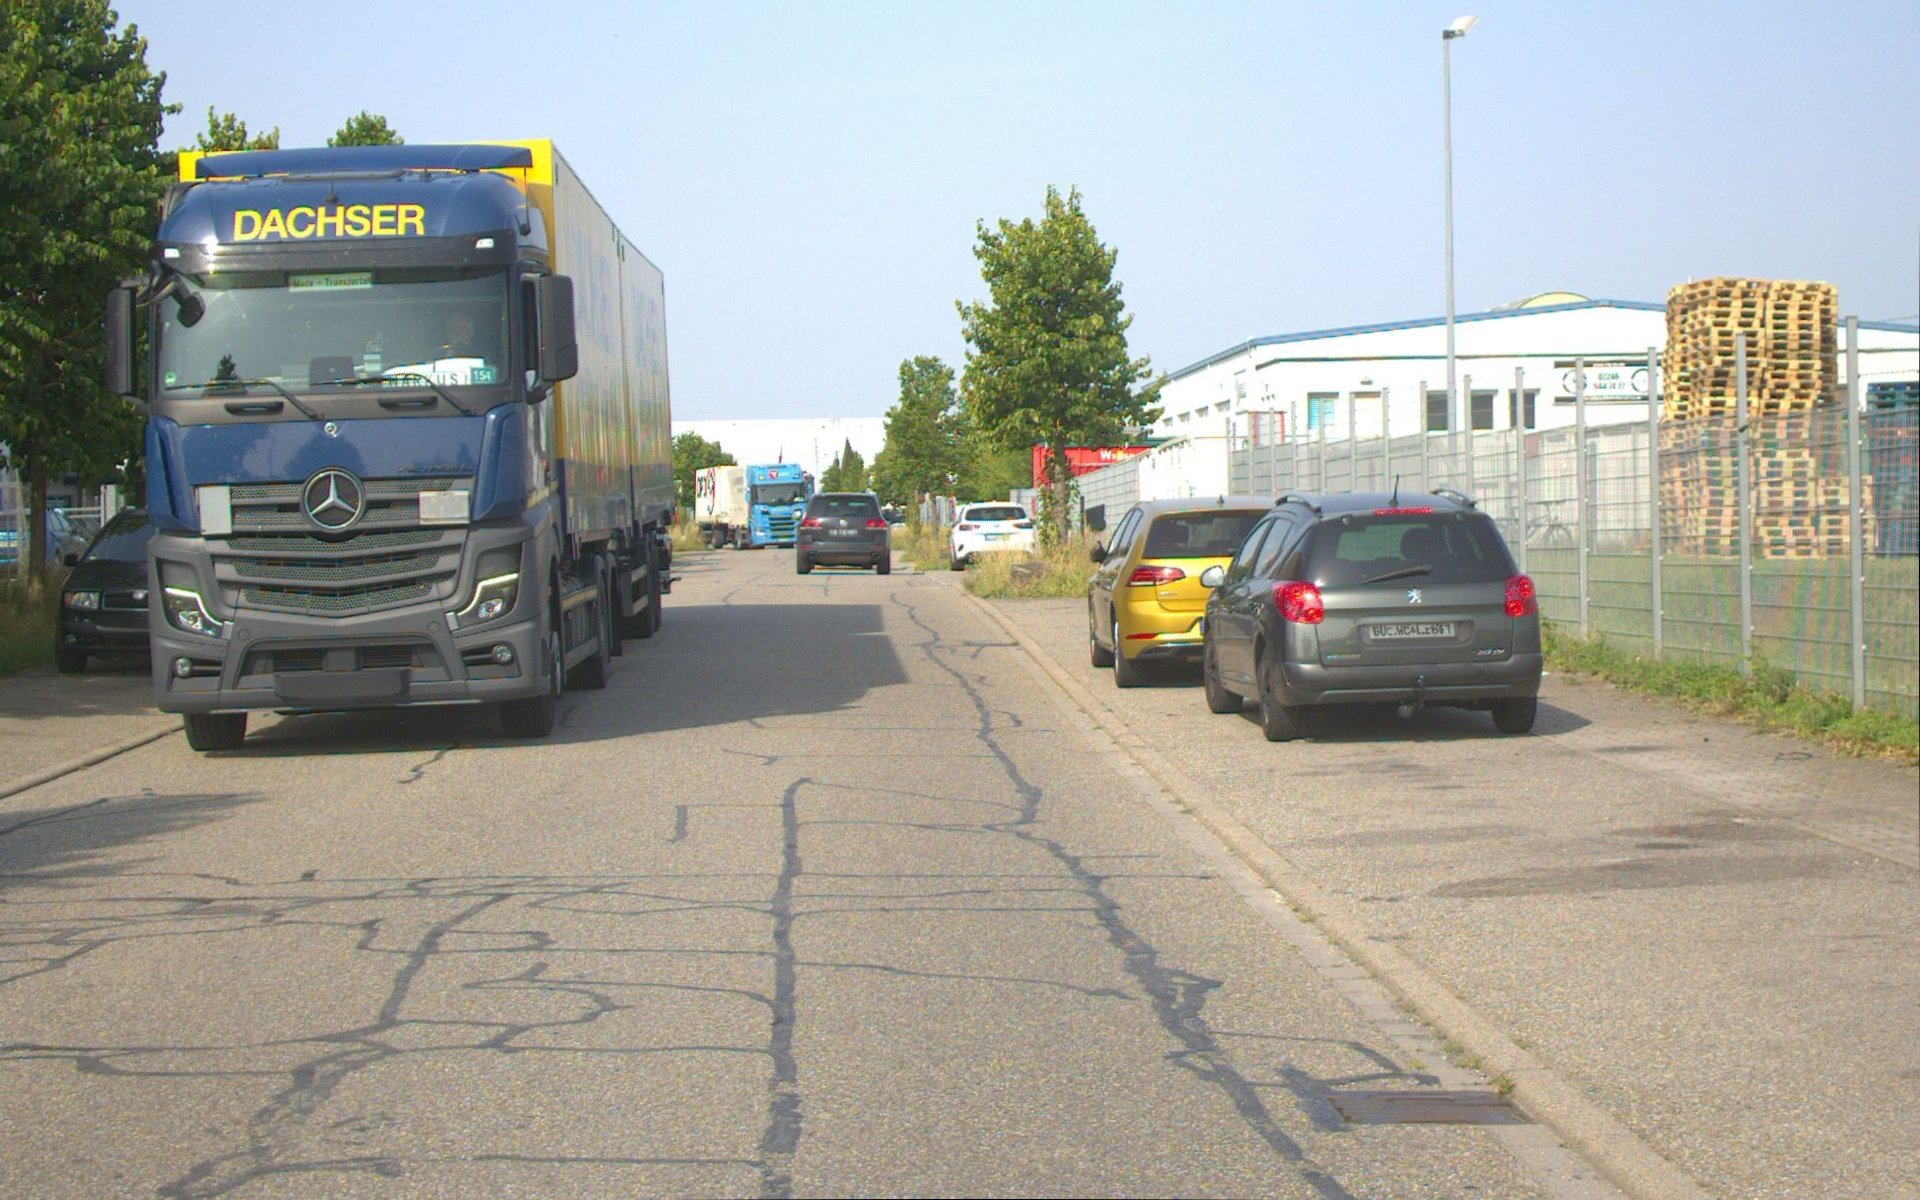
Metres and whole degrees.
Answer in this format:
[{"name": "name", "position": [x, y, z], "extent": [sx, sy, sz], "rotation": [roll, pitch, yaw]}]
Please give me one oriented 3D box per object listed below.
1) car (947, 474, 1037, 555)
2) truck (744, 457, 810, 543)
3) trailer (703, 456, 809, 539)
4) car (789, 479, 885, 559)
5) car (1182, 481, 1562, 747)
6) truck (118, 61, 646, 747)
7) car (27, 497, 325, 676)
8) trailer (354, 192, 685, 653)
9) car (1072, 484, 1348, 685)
[{"name": "car", "position": [0.663, -1.841, 73.801], "extent": [1.714, 1.674, 3.950], "rotation": [0, 1, -3]}, {"name": "truck", "position": [-8.222, -4.475, 153.815], "extent": [2.878, 3.748, 6.085], "rotation": [0, 1, -3]}, {"name": "trailer", "position": [-9.714, -4.814, 162.134], "extent": [2.878, 3.748, 12.083], "rotation": [0, 2, -14]}, {"name": "car", "position": [-2.556, -1.655, 70.616], "extent": [1.880, 1.581, 4.114], "rotation": [-1, 1, -3]}, {"name": "car", "position": [2.585, 0.029, 22.470], "extent": [1.714, 1.510, 4.005], "rotation": [-2, 2, -4]}, {"name": "truck", "position": [-4.023, -1.353, 26.343], "extent": [2.498, 4.131, 10.381], "rotation": [-2, 2, -2]}, {"name": "car", "position": [-7.058, -0.174, 31.330], "extent": [1.833, 1.491, 4.050], "rotation": [1, 2, -1]}, {"name": "trailer", "position": [-4.376, -1.749, 35.785], "extent": [2.498, 4.131, 8.498], "rotation": [-2, 2, -2]}, {"name": "car", "position": [1.960, -0.175, 28.085], "extent": [1.714, 1.450, 4.188], "rotation": [-2, 2, -3]}]
